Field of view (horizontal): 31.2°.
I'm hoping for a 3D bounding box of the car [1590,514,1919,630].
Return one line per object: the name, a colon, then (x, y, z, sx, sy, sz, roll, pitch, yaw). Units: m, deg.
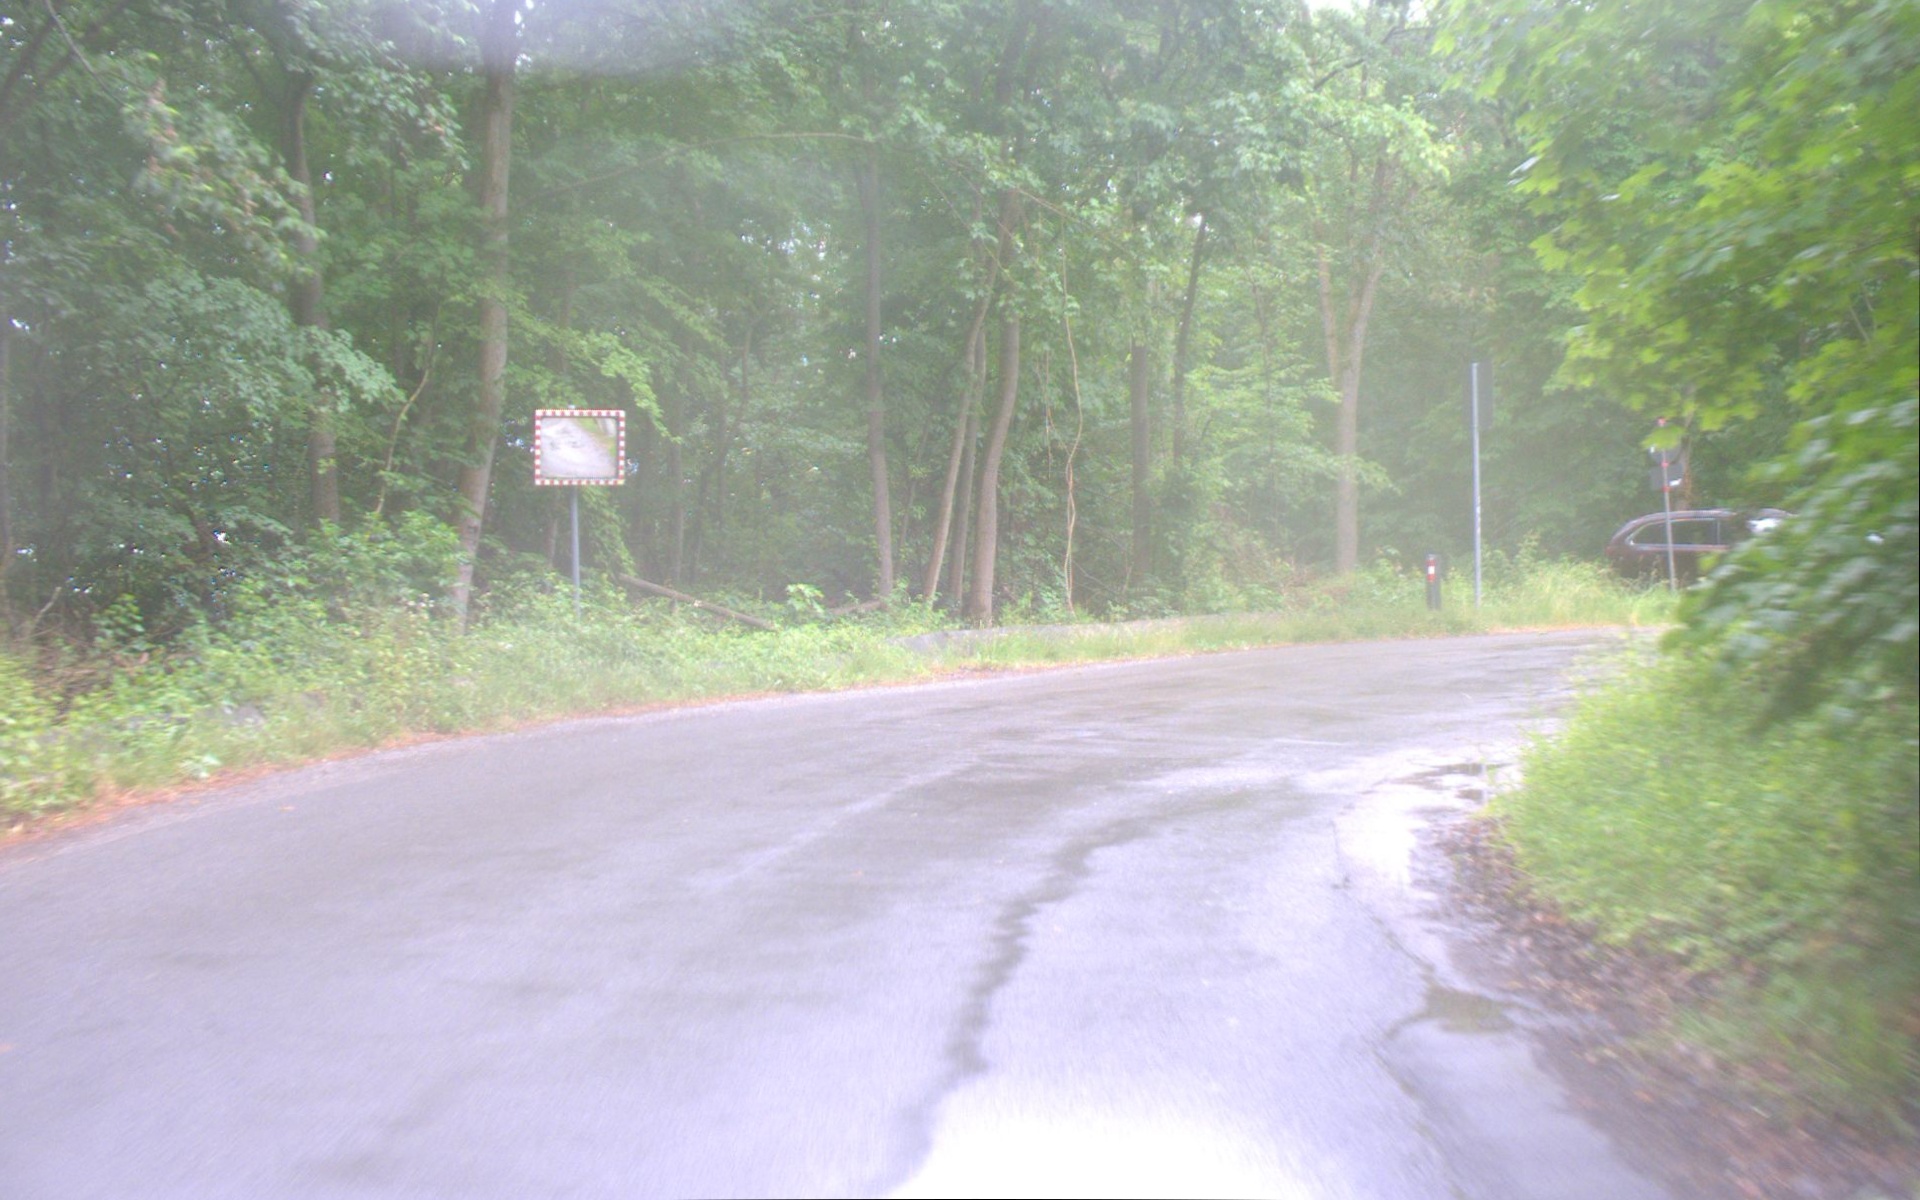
car: (12.374, -0.425, 53.603, 1.871, 1.671, 4.838, -3, 2, -42)
